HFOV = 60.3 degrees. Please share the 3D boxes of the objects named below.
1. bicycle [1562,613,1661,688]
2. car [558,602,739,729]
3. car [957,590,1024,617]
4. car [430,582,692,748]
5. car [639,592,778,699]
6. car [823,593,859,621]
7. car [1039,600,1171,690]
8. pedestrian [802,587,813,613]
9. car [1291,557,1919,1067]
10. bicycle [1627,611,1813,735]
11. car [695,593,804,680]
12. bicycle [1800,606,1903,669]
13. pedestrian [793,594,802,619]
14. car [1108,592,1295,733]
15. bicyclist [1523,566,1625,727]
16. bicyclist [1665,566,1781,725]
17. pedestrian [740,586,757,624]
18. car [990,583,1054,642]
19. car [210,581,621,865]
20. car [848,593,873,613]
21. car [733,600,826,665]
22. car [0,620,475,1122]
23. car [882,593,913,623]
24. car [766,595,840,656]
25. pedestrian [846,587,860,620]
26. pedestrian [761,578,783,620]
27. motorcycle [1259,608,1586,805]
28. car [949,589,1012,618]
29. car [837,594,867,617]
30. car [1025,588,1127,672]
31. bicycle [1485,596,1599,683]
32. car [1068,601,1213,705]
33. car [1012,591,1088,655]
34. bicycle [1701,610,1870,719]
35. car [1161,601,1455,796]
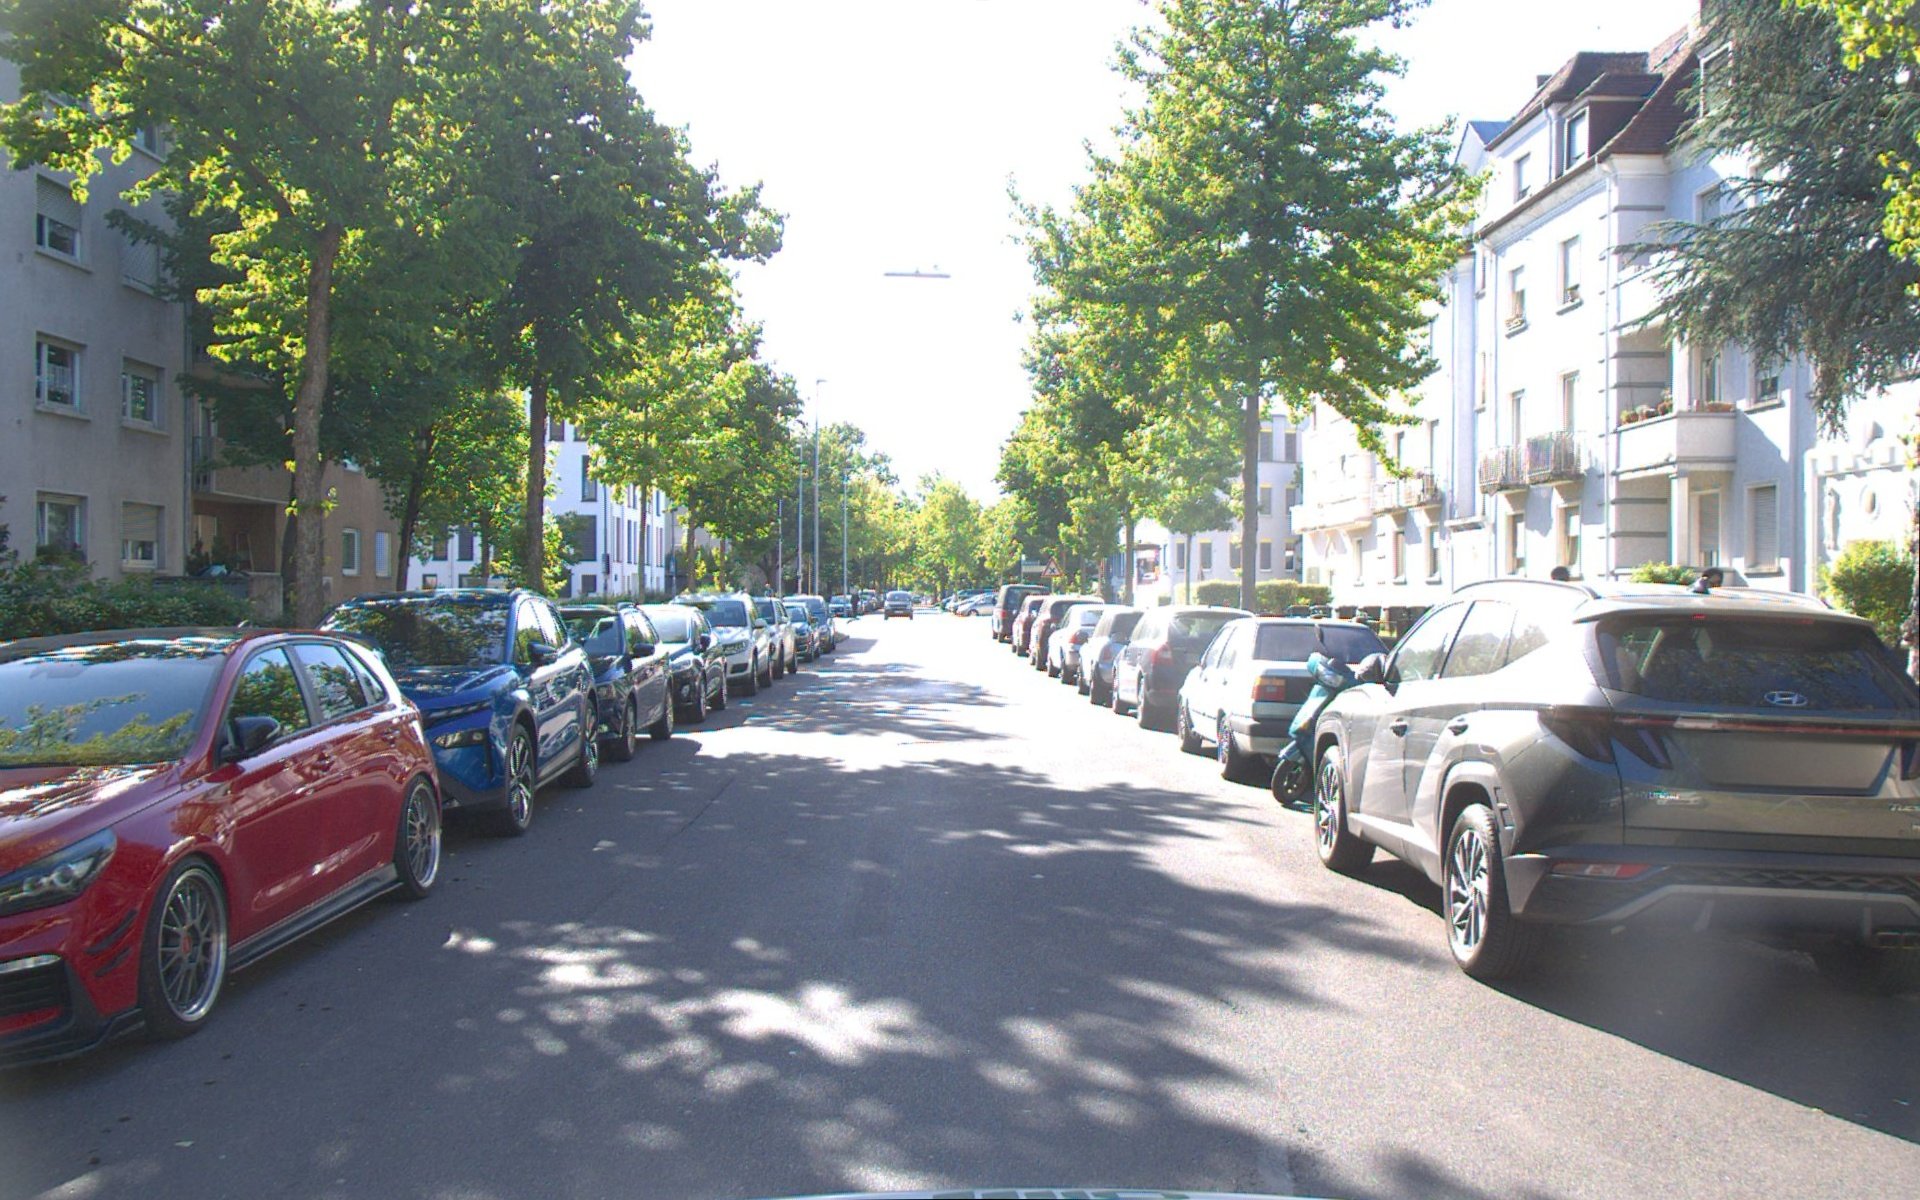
[{"bbox_3d":[9.066,0.685,23.080,0.583,0.974,1.903,-1,0,-1],"label":"bicycle"},{"bbox_3d":[-4.031,0.793,21.979,1.726,1.469,3.907,-2,0,-2],"label":"car"},{"bbox_3d":[1.865,0.208,100.648,3.909,1.615,1.725,0,0,-5],"label":"car"},{"bbox_3d":[-3.993,0.590,17.235,1.792,1.478,4.121,-1,0,-2],"label":"car"},{"bbox_3d":[-4.118,0.702,27.695,1.774,1.624,4.231,-1,0,-2],"label":"car"},{"bbox_3d":[-7.312,0.406,101.954,1.953,1.700,3.999,0,0,-1],"label":"car"},{"bbox_3d":[2.671,0.795,31.557,1.859,1.500,4.697,3,0,-3],"label":"car"},{"bbox_3d":[-12.412,-0.012,134.857,0.843,2.049,0.979,0,0,-8],"label":"pedestrian"},{"bbox_3d":[3.087,0.710,8.120,1.886,1.680,5.095,2,0,0],"label":"car"},{"bbox_3d":[7.839,0.716,17.202,0.670,1.173,2.401,0,0,-4],"label":"bicycle"},{"bbox_3d":[-4.152,0.680,33.115,1.675,1.571,3.929,-2,0,-1],"label":"car"},{"bbox_3d":[15.304,0.632,28.406,1.550,0.988,0.475,-3,0,-8],"label":"bicycle"},{"bbox_3d":[-12.901,0.509,131.326,0.747,1.934,0.817,0,0,-8],"label":"pedestrian"},{"bbox_3d":[2.986,0.710,21.277,1.658,1.567,4.440,1,0,-1],"label":"car"},{"bbox_3d":[6.443,0.477,17.394,0.663,1.638,0.921,0,0,-5],"label":"bicyclist"},{"bbox_3d":[7.852,0.452,17.061,0.663,1.580,1.021,0,0,-5],"label":"bicyclist"},{"bbox_3d":[-11.434,0.282,89.450,0.842,2.049,0.980,0,0,-3],"label":"pedestrian"},{"bbox_3d":[2.145,0.405,58.308,1.931,1.983,4.983,0,0,-2],"label":"car"},{"bbox_3d":[-3.702,0.727,12.105,1.754,1.594,4.461,-3,0,-4],"label":"car"},{"bbox_3d":[-8.335,0.259,139.007,1.953,1.613,3.999,0,0,-1],"label":"car"},{"bbox_3d":[-4.504,0.783,41.819,1.953,1.478,4.260,-3,0,-2],"label":"car"},{"bbox_3d":[-3.537,0.847,6.957,1.743,1.403,4.262,-2,0,-1],"label":"car"},{"bbox_3d":[-3.596,0.431,94.629,1.747,1.637,3.997,0,0,-3],"label":"car"},{"bbox_3d":[-4.494,0.700,47.890,1.802,1.623,4.260,-2,0,-2],"label":"car"},{"bbox_3d":[-6.178,0.196,95.596,0.702,1.933,0.834,0,0,-11],"label":"pedestrian"},{"bbox_3d":[-9.073,-0.055,79.830,0.841,2.049,0.982,0,0,7],"label":"pedestrian"},{"bbox_3d":[3.494,0.786,12.609,2.304,1.447,0.687,0,0,-2],"label":"motorcycle"},{"bbox_3d":[1.317,0.217,105.853,3.908,1.837,1.888,0,0,-4],"label":"car"},{"bbox_3d":[-7.613,0.381,117.236,1.953,1.613,3.999,0,0,-1],"label":"car"},{"bbox_3d":[2.589,0.643,37.823,1.868,1.728,4.312,3,0,-1],"label":"car"},{"bbox_3d":[8.930,0.578,25.477,0.822,1.279,2.229,1,0,-5],"label":"bicycle"},{"bbox_3d":[2.751,0.775,25.995,1.752,1.478,3.780,1,0,-2],"label":"car"},{"bbox_3d":[2.459,0.608,46.088,1.797,1.628,4.157,2,0,-1],"label":"car"},{"bbox_3d":[9.201,0.695,18.534,0.788,1.135,1.998,1,0,-4],"label":"bicycle"},{"bbox_3d":[3.098,0.803,15.638,1.715,1.479,4.461,2,0,-1],"label":"car"}]
